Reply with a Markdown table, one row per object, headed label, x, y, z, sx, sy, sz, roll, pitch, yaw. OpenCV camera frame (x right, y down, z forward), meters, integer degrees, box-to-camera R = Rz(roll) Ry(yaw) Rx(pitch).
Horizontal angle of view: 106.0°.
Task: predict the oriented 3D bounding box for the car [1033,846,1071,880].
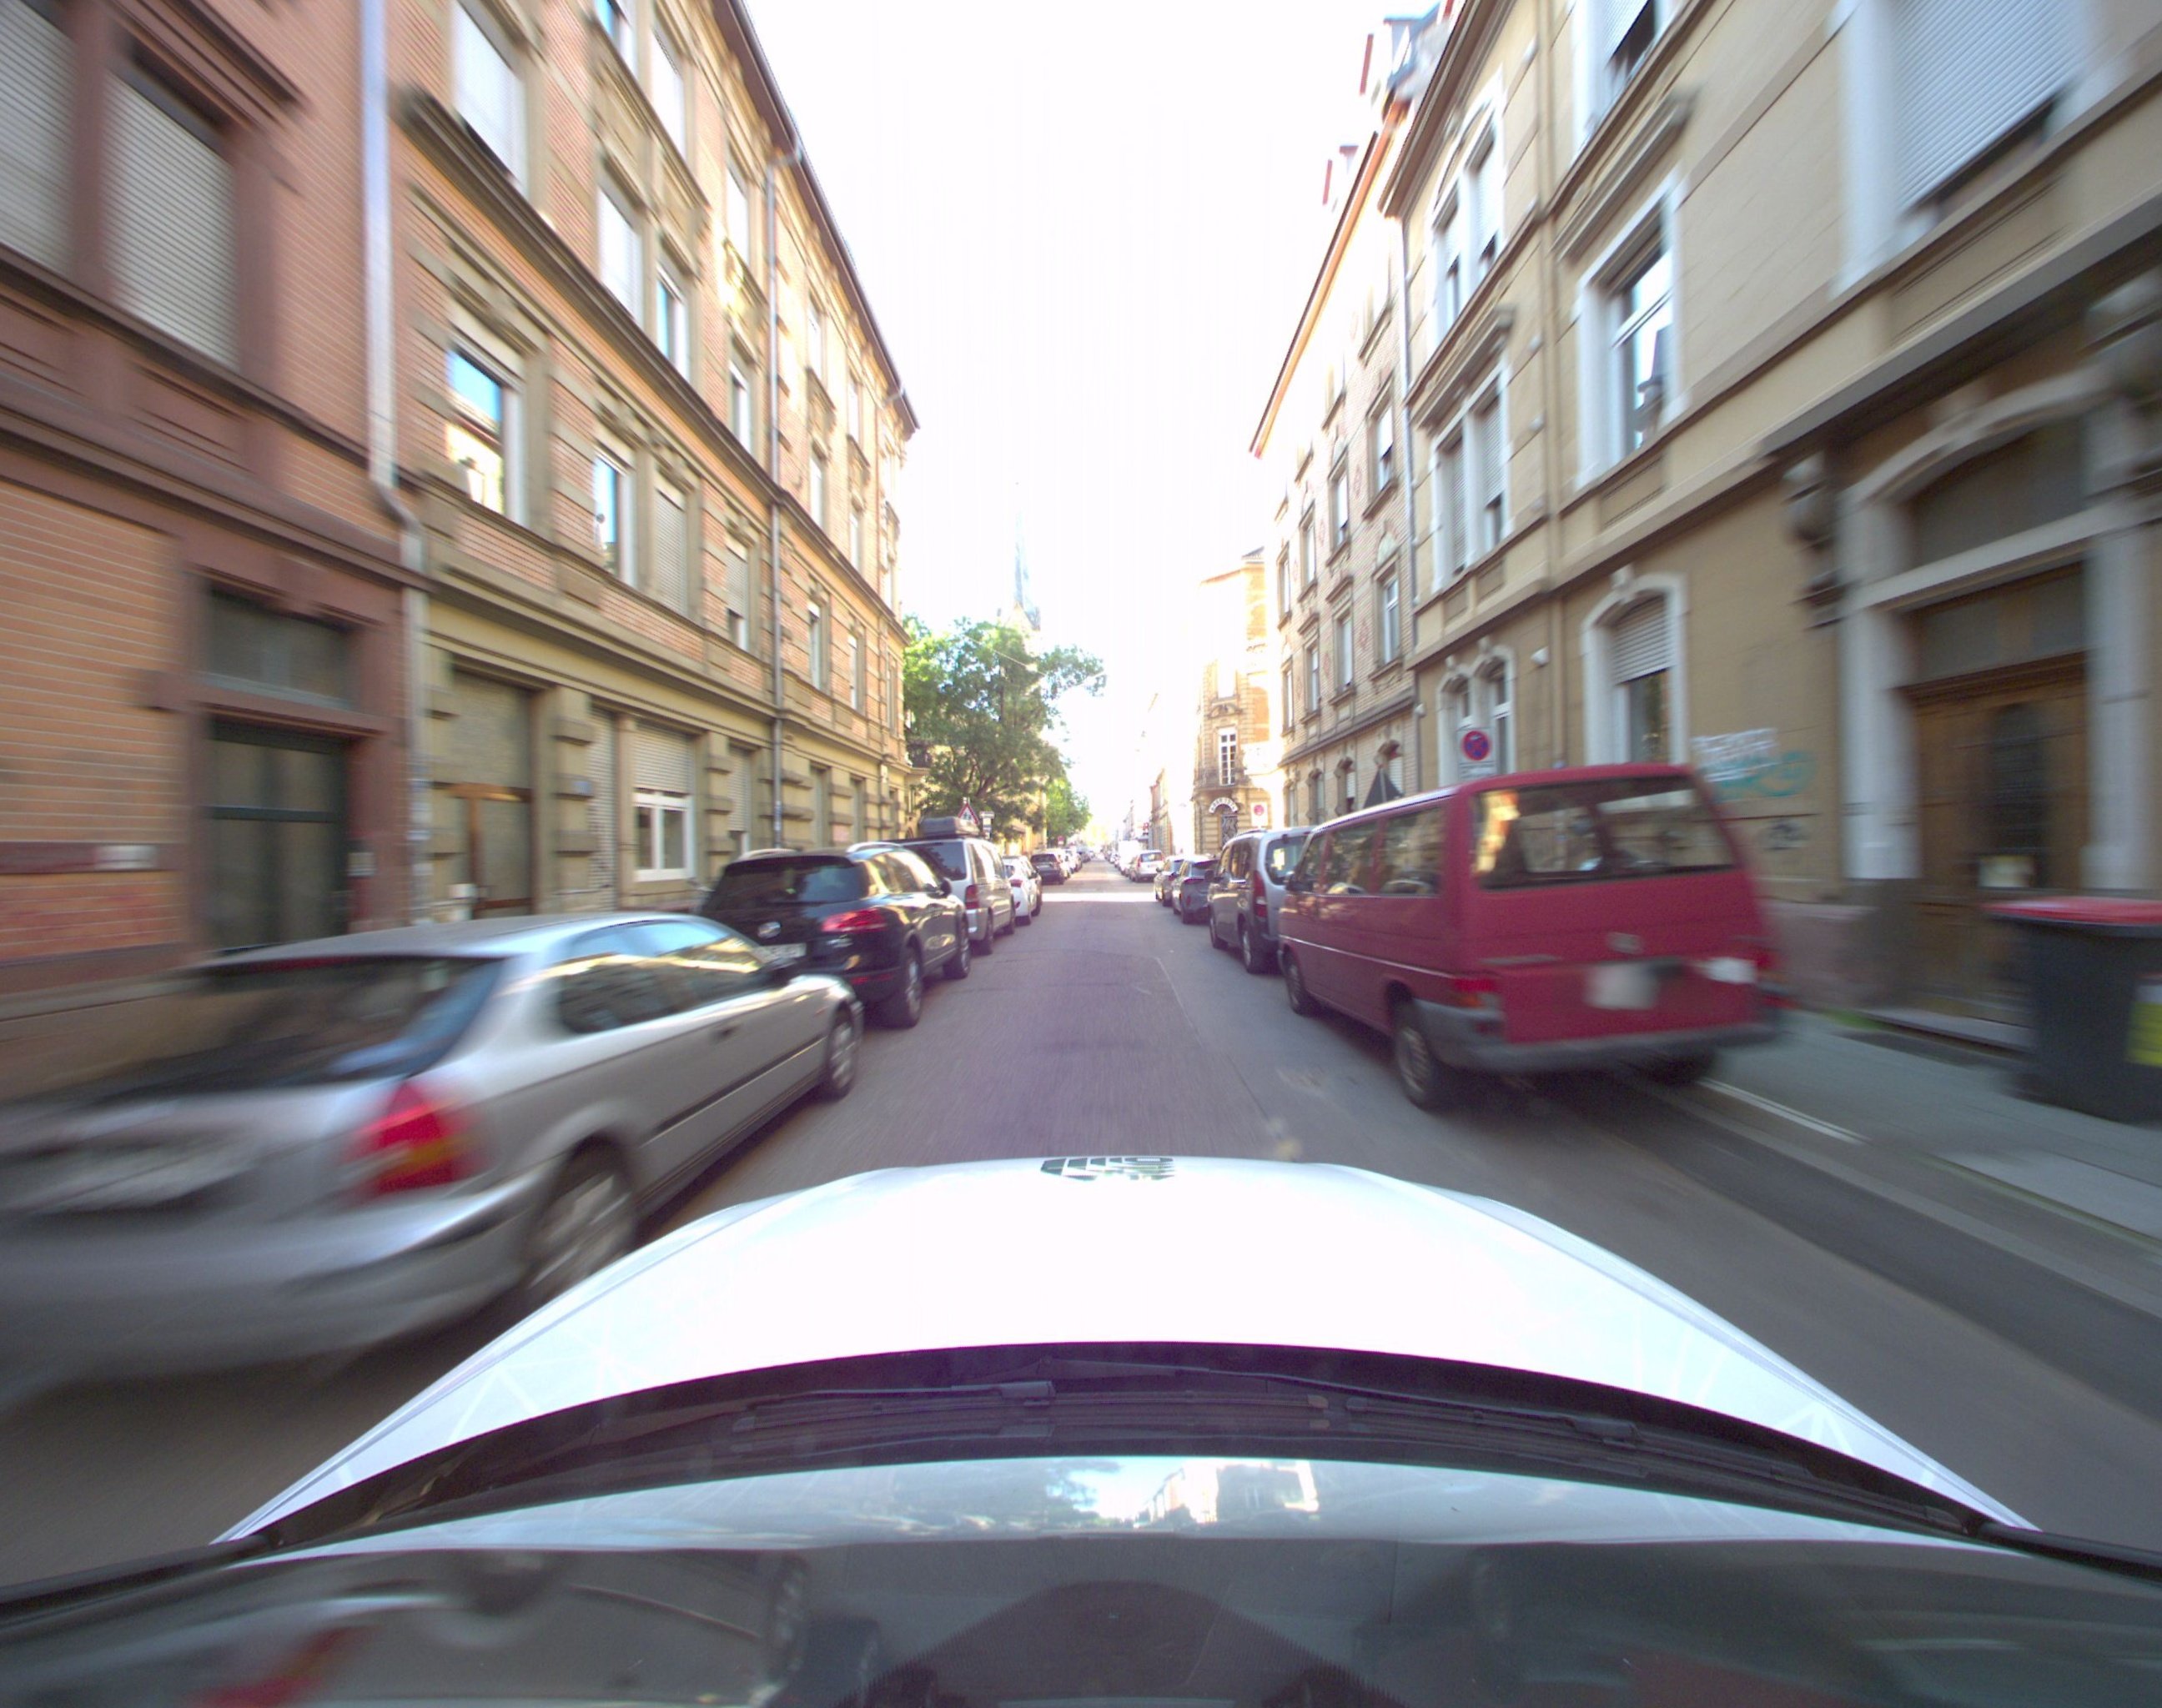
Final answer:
| label | x | y | z | sx | sy | sz | roll | pitch | yaw |
| --- | --- | --- | --- | --- | --- | --- | --- | --- | --- |
| car | -1.662 | 0.490 | 47.632 | 1.838 | 1.862 | 4.468 | -2 | 0 | 2 |

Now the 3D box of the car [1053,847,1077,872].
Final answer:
| label | x | y | z | sx | sy | sz | roll | pitch | yaw |
| --- | --- | --- | --- | --- | --- | --- | --- | --- | --- |
| car | -1.322 | 0.470 | 69.330 | 1.858 | 1.957 | 4.610 | -3 | 0 | 1 |

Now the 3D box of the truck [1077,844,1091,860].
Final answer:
| label | x | y | z | sx | sy | sz | roll | pitch | yaw |
| --- | --- | --- | --- | --- | --- | --- | --- | --- | --- |
| truck | 0.693 | -0.384 | 167.918 | 2.523 | 3.281 | 6.997 | -1 | 0 | 2 |

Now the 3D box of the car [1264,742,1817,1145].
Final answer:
| label | x | y | z | sx | sy | sz | roll | pitch | yaw |
| --- | --- | --- | --- | --- | --- | --- | --- | --- | --- |
| car | 2.839 | 0.438 | 6.458 | 1.825 | 2.013 | 4.743 | 0 | 0 | 1 |

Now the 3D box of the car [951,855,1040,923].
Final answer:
| label | x | y | z | sx | sy | sz | roll | pitch | yaw |
| --- | --- | --- | --- | --- | --- | --- | --- | --- | --- |
| car | -1.894 | 0.733 | 19.025 | 1.669 | 1.420 | 3.874 | 0 | 0 | 0 |

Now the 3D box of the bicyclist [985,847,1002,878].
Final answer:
| label | x | y | z | sx | sy | sz | roll | pitch | yaw |
| --- | --- | --- | --- | --- | --- | --- | --- | --- | --- |
| bicyclist | -4.911 | 0.475 | 45.691 | 0.800 | 1.723 | 0.694 | 1 | 1 | 9 |

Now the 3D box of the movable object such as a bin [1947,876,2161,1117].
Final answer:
| label | x | y | z | sx | sy | sz | roll | pitch | yaw |
| --- | --- | --- | --- | --- | --- | --- | --- | --- | --- |
| movable object such as a bin | 5.365 | 0.687 | 4.238 | 0.893 | 1.061 | 0.722 | -4 | 0 | -1 |

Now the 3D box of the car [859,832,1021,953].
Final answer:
| label | x | y | z | sx | sy | sz | roll | pitch | yaw |
| --- | --- | --- | --- | --- | --- | --- | --- | --- | --- |
| car | -2.255 | 0.569 | 14.332 | 1.885 | 1.784 | 4.610 | 0 | 0 | 2 |

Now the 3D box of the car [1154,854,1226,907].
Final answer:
| label | x | y | z | sx | sy | sz | roll | pitch | yaw |
| --- | --- | --- | --- | --- | --- | --- | --- | --- | --- |
| car | 3.196 | 0.719 | 24.686 | 1.700 | 1.459 | 4.513 | 0 | 0 | 2 |

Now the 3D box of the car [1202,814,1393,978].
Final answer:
| label | x | y | z | sx | sy | sz | roll | pitch | yaw |
| --- | --- | --- | --- | --- | --- | --- | --- | --- | --- |
| car | 2.917 | 0.496 | 11.898 | 1.763 | 1.961 | 4.265 | 0 | 0 | 1 |

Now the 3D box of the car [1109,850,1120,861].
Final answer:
| label | x | y | z | sx | sy | sz | roll | pitch | yaw |
| --- | --- | --- | --- | --- | --- | --- | --- | --- | --- |
| car | 5.737 | 0.251 | 138.059 | 1.762 | 1.741 | 4.002 | -1 | 0 | 2 |

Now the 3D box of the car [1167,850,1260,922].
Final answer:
| label | x | y | z | sx | sy | sz | roll | pitch | yaw |
| --- | --- | --- | --- | --- | --- | --- | --- | --- | --- |
| car | 3.032 | 0.669 | 19.287 | 1.660 | 1.479 | 3.889 | -1 | 1 | 2 |

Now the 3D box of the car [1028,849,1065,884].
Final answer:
| label | x | y | z | sx | sy | sz | roll | pitch | yaw |
| --- | --- | --- | --- | --- | --- | --- | --- | --- | --- |
| car | -1.739 | 0.614 | 41.945 | 1.735 | 1.646 | 4.287 | -2 | 0 | -1 |

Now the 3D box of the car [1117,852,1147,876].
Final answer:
| label | x | y | z | sx | sy | sz | roll | pitch | yaw |
| --- | --- | --- | --- | --- | --- | --- | --- | --- | --- |
| car | 3.361 | 0.645 | 54.176 | 1.568 | 1.525 | 3.904 | 1 | 0 | -3 |

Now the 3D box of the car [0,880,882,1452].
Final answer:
| label | x | y | z | sx | sy | sz | roll | pitch | yaw |
| --- | --- | --- | --- | --- | --- | --- | --- | --- | --- |
| car | -2.418 | 0.876 | 4.129 | 1.692 | 1.314 | 4.001 | 2 | 0 | 1 |

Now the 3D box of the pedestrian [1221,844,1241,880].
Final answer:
| label | x | y | z | sx | sy | sz | roll | pitch | yaw |
| --- | --- | --- | --- | --- | --- | --- | --- | --- | --- |
| pedestrian | 6.972 | 0.381 | 37.859 | 0.575 | 1.621 | 0.730 | -3 | 0 | -15 |

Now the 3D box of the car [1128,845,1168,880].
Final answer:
| label | x | y | z | sx | sy | sz | roll | pitch | yaw |
| --- | --- | --- | --- | --- | --- | --- | --- | --- | --- |
| car | 3.541 | 0.446 | 43.694 | 1.698 | 1.714 | 3.937 | -2 | 0 | -1 |

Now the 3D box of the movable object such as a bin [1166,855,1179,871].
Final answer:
| label | x | y | z | sx | sy | sz | roll | pitch | yaw |
| --- | --- | --- | --- | --- | --- | --- | --- | --- | --- |
| movable object such as a bin | 6.454 | 0.648 | 57.389 | 0.551 | 1.052 | 0.597 | -4 | 0 | -32 |

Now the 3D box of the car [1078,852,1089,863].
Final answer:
| label | x | y | z | sx | sy | sz | roll | pitch | yaw |
| --- | --- | --- | --- | --- | --- | --- | --- | --- | --- |
| car | 0.515 | 0.640 | 151.325 | 1.871 | 1.796 | 3.996 | -1 | 0 | -2 |

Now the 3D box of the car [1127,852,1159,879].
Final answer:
| label | x | y | z | sx | sy | sz | roll | pitch | yaw |
| --- | --- | --- | --- | --- | --- | --- | --- | --- | --- |
| car | 3.645 | 0.650 | 48.554 | 1.530 | 1.513 | 3.680 | -2 | 0 | -1 |

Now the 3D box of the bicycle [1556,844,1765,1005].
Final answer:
| label | x | y | z | sx | sy | sz | roll | pitch | yaw |
| --- | --- | --- | --- | --- | --- | --- | --- | --- | --- |
| bicycle | 5.377 | 0.590 | 7.710 | 0.724 | 1.304 | 1.693 | -4 | 0 | 2 |

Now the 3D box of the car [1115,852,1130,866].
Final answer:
| label | x | y | z | sx | sy | sz | roll | pitch | yaw |
| --- | --- | --- | --- | --- | --- | --- | --- | --- | --- |
| car | 4.480 | 0.563 | 88.969 | 1.597 | 1.505 | 4.003 | 0 | 0 | 3 |

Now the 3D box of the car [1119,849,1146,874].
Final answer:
| label | x | y | z | sx | sy | sz | roll | pitch | yaw |
| --- | --- | --- | --- | --- | --- | --- | --- | --- | --- |
| car | 3.675 | 0.544 | 58.449 | 1.801 | 1.690 | 4.216 | 0 | 0 | 2 |

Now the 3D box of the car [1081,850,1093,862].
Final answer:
| label | x | y | z | sx | sy | sz | roll | pitch | yaw |
| --- | --- | --- | --- | --- | --- | --- | --- | --- | --- |
| car | 0.965 | 0.276 | 129.752 | 1.868 | 1.796 | 4.001 | -1 | 0 | 2 |

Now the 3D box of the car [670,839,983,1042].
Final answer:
| label | x | y | z | sx | sy | sz | roll | pitch | yaw |
| --- | --- | --- | --- | --- | --- | --- | --- | --- | --- |
| car | -2.328 | 0.690 | 8.852 | 1.781 | 1.624 | 4.610 | 0 | 0 | 2 |

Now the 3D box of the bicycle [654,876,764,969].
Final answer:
| label | x | y | z | sx | sy | sz | roll | pitch | yaw |
| --- | --- | --- | --- | --- | --- | --- | --- | --- | --- |
| bicycle | -5.194 | 0.916 | 11.504 | 0.664 | 1.125 | 1.786 | 1 | 1 | 2 |

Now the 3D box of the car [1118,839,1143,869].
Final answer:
| label | x | y | z | sx | sy | sz | roll | pitch | yaw |
| --- | --- | --- | --- | --- | --- | --- | --- | --- | --- |
| car | 4.387 | -0.020 | 73.165 | 2.060 | 2.611 | 5.890 | -1 | 0 | 1 |

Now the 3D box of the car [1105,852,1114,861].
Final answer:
| label | x | y | z | sx | sy | sz | roll | pitch | yaw |
| --- | --- | --- | --- | --- | --- | --- | --- | --- | --- |
| car | 6.769 | 0.621 | 193.923 | 1.986 | 2.013 | 4.001 | -1 | 0 | 2 |

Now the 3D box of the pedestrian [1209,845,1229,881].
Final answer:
| label | x | y | z | sx | sy | sz | roll | pitch | yaw |
| --- | --- | --- | --- | --- | --- | --- | --- | --- | --- |
| pedestrian | 6.373 | 0.402 | 37.664 | 0.591 | 1.604 | 0.724 | -3 | 0 | -14 |

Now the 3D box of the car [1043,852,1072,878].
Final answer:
| label | x | y | z | sx | sy | sz | roll | pitch | yaw |
| --- | --- | --- | --- | --- | --- | --- | --- | --- | --- |
| car | -1.492 | 0.690 | 52.814 | 1.681 | 1.476 | 3.861 | -3 | 0 | 1 |

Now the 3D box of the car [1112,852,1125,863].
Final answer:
| label | x | y | z | sx | sy | sz | roll | pitch | yaw |
| --- | --- | --- | --- | --- | --- | --- | --- | --- | --- |
| car | 5.391 | 0.453 | 117.605 | 1.890 | 1.488 | 3.871 | -1 | 0 | 2 |

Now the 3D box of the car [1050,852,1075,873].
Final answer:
| label | x | y | z | sx | sy | sz | roll | pitch | yaw |
| --- | --- | --- | --- | --- | --- | --- | --- | --- | --- |
| car | -1.382 | 0.660 | 63.689 | 1.736 | 1.586 | 3.870 | -1 | 0 | 1 |

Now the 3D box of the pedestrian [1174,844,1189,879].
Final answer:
| label | x | y | z | sx | sy | sz | roll | pitch | yaw |
| --- | --- | --- | --- | --- | --- | --- | --- | --- | --- |
| pedestrian | 5.204 | 0.383 | 42.214 | 0.572 | 1.732 | 0.663 | -3 | 0 | -2 |

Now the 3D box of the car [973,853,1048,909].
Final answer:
| label | x | y | z | sx | sy | sz | roll | pitch | yaw |
| --- | --- | --- | --- | --- | --- | --- | --- | --- | --- |
| car | -1.952 | 0.710 | 23.707 | 1.716 | 1.481 | 4.091 | 0 | 0 | 2 |
